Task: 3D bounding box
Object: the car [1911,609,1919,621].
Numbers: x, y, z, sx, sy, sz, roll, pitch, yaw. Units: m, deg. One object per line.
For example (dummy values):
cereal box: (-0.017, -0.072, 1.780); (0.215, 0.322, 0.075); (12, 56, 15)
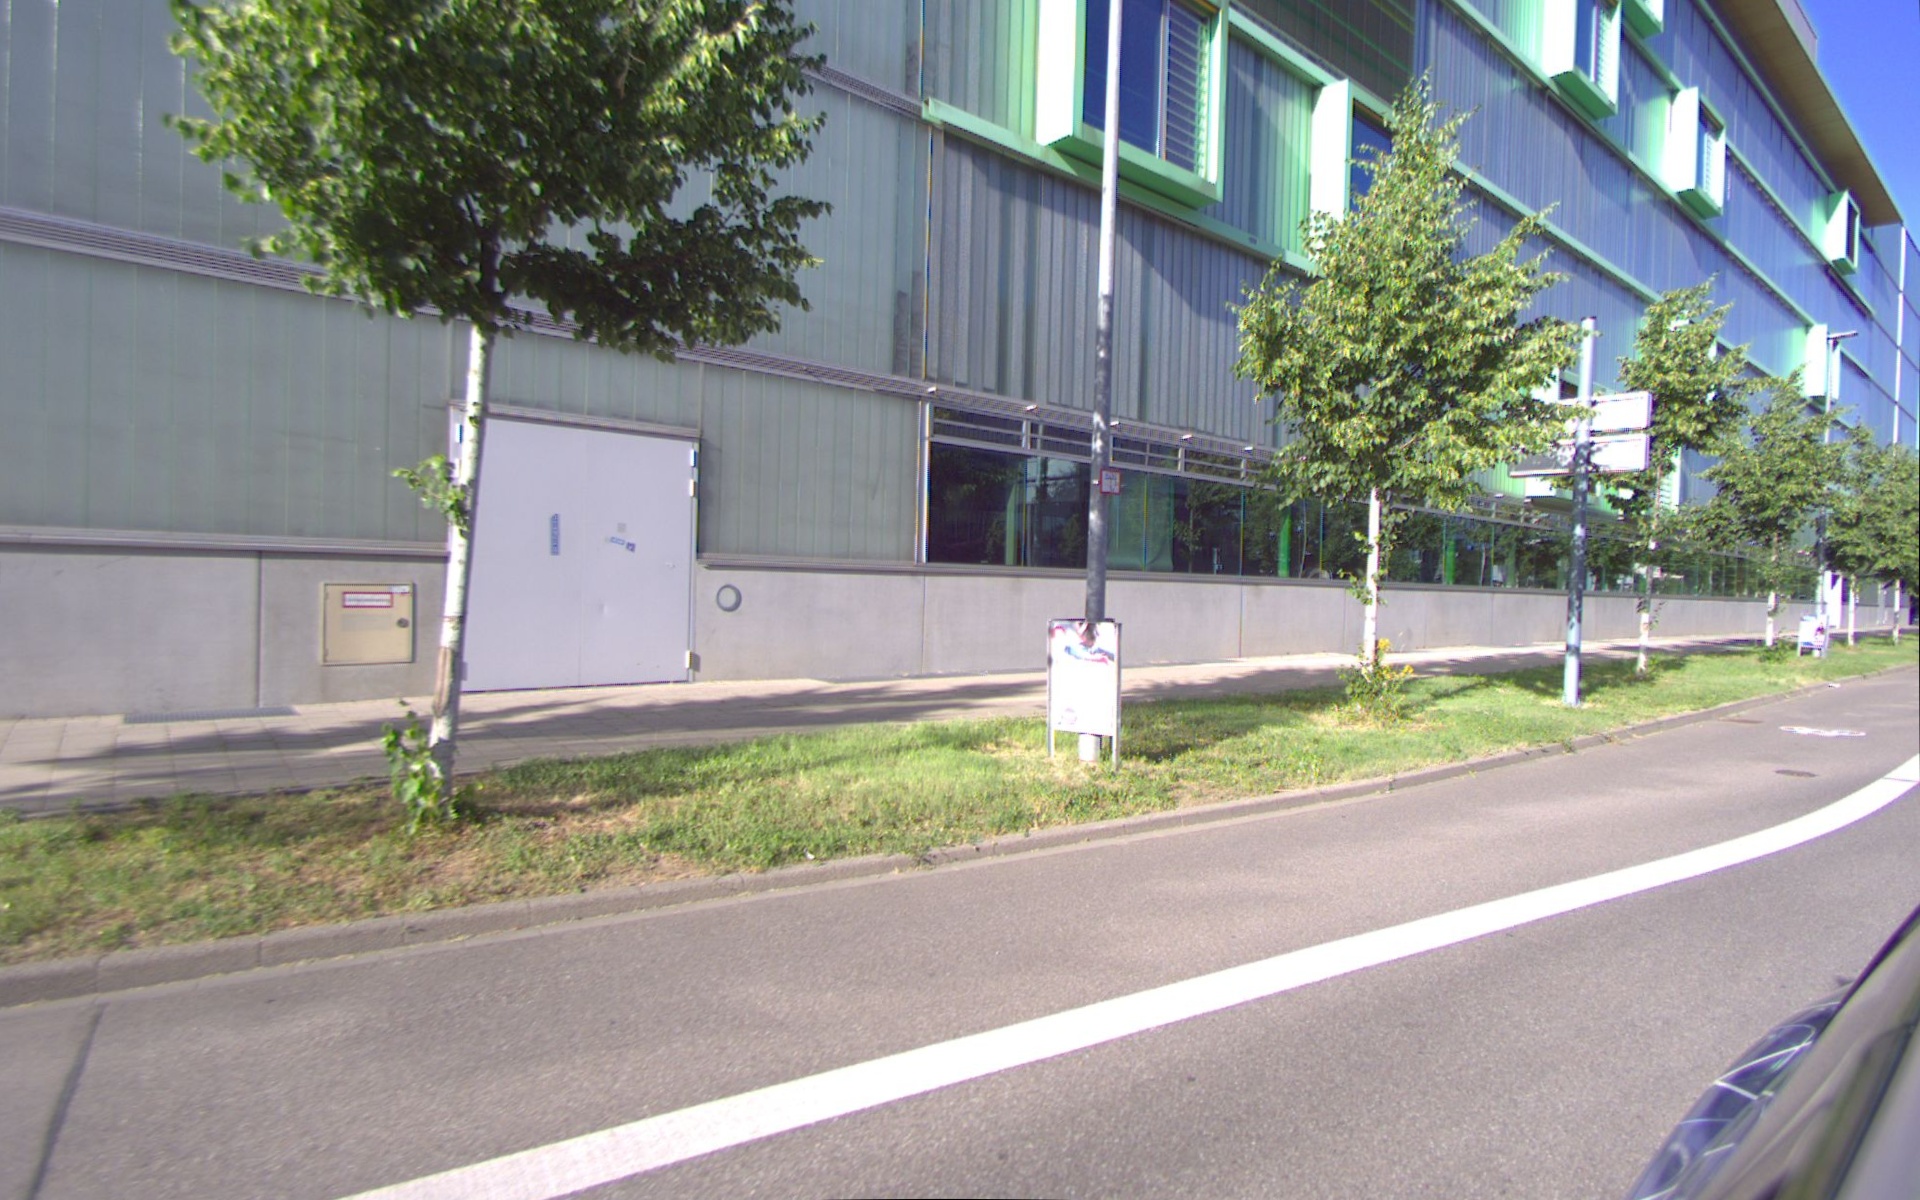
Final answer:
car: (131.173, 2.074, 137.474); (4.819, 1.504, 1.900); (1, 1, -35)
